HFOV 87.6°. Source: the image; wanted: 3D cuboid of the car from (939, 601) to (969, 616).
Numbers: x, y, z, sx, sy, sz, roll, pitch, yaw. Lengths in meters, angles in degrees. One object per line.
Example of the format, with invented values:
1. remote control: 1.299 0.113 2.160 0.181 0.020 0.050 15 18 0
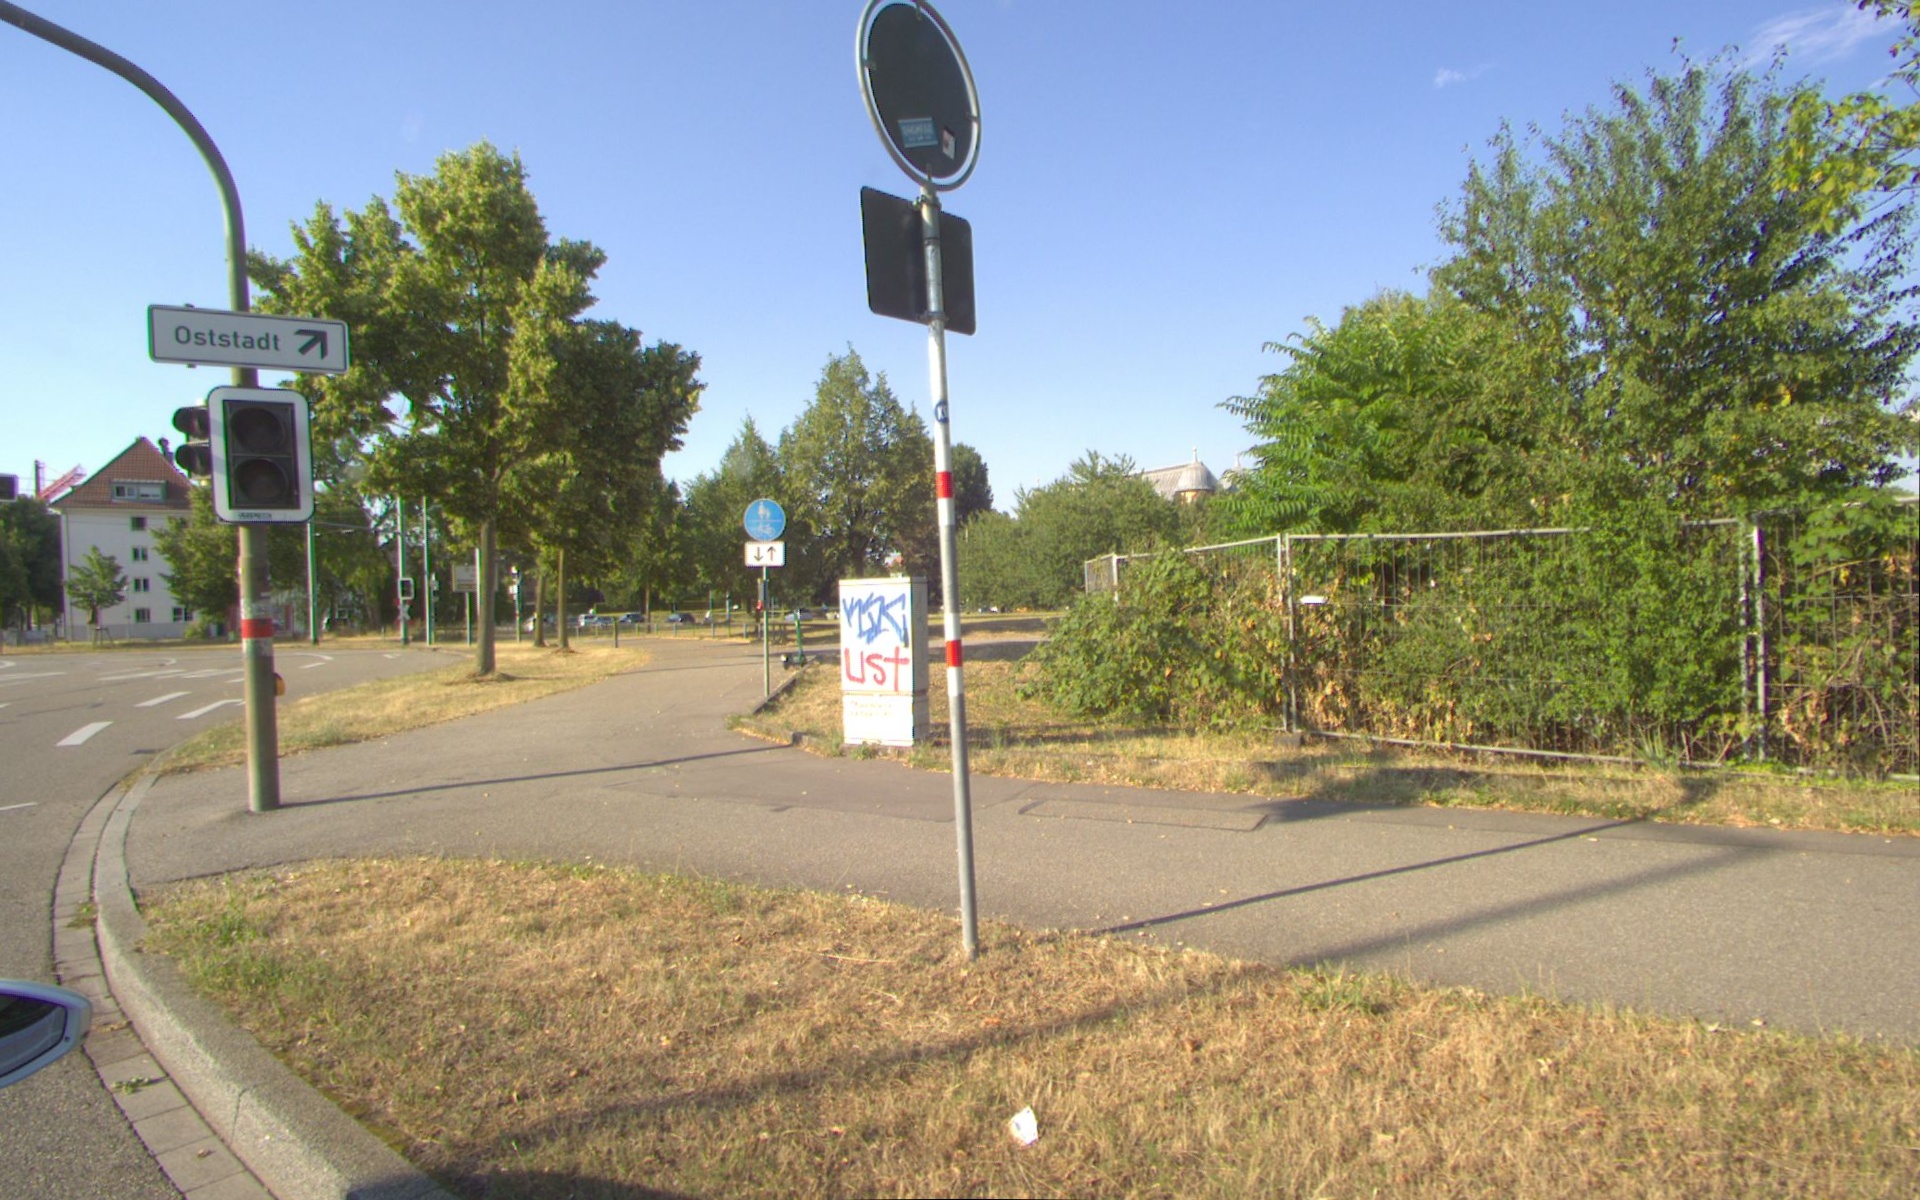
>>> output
1. car: -0.807 1.035 123.649 1.803 1.694 3.976 -1 -1 -33

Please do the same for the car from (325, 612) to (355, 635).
1. car: -48.229 1.832 77.898 1.751 1.639 3.950 -1 -1 -29

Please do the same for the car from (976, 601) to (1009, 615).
1. car: 3.619 0.921 113.107 1.803 1.421 3.976 -1 -1 -33

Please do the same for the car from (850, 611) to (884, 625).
1. car: -9.656 1.895 104.086 1.803 1.421 3.976 -2 0 -33

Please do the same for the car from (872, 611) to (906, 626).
1. car: -7.495 1.952 105.300 1.803 1.421 3.976 -1 -1 -33

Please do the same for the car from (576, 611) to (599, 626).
1. car: -37.065 1.864 99.545 1.583 1.420 3.950 -1 -1 -29

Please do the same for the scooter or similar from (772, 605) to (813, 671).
1. scooter or similar: -3.195 0.714 19.180 0.336 1.175 1.169 -4 2 8

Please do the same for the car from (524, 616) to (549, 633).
1. car: -36.579 2.113 86.465 1.583 1.420 3.950 -1 -1 -29

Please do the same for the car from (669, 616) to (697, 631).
1. car: -25.647 2.202 92.679 1.583 1.327 3.950 -1 -1 -29

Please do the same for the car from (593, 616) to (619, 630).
1. car: -31.752 2.066 89.748 1.583 1.237 3.950 -1 -1 -29

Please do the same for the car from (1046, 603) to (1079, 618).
1. car: 12.092 1.247 118.735 1.803 1.589 3.976 -1 -1 -33

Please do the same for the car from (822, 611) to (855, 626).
1. car: -12.503 1.915 102.944 1.803 1.421 3.976 -1 -1 -33

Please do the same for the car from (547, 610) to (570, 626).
1. car: -39.307 1.779 97.958 1.583 1.420 3.950 -1 -1 -29

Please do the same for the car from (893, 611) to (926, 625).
1. car: -5.389 1.920 106.707 1.803 1.421 3.976 -1 -1 -33

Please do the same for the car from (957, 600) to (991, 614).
1. car: 1.534 0.811 111.364 1.803 1.421 3.976 -1 -1 -33

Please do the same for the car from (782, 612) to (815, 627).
1. car: -16.182 1.956 99.990 1.803 1.421 3.976 -1 -1 -33

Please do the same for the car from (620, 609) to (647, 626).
1. car: -29.419 1.606 90.270 1.583 1.420 3.950 -1 -1 -29
